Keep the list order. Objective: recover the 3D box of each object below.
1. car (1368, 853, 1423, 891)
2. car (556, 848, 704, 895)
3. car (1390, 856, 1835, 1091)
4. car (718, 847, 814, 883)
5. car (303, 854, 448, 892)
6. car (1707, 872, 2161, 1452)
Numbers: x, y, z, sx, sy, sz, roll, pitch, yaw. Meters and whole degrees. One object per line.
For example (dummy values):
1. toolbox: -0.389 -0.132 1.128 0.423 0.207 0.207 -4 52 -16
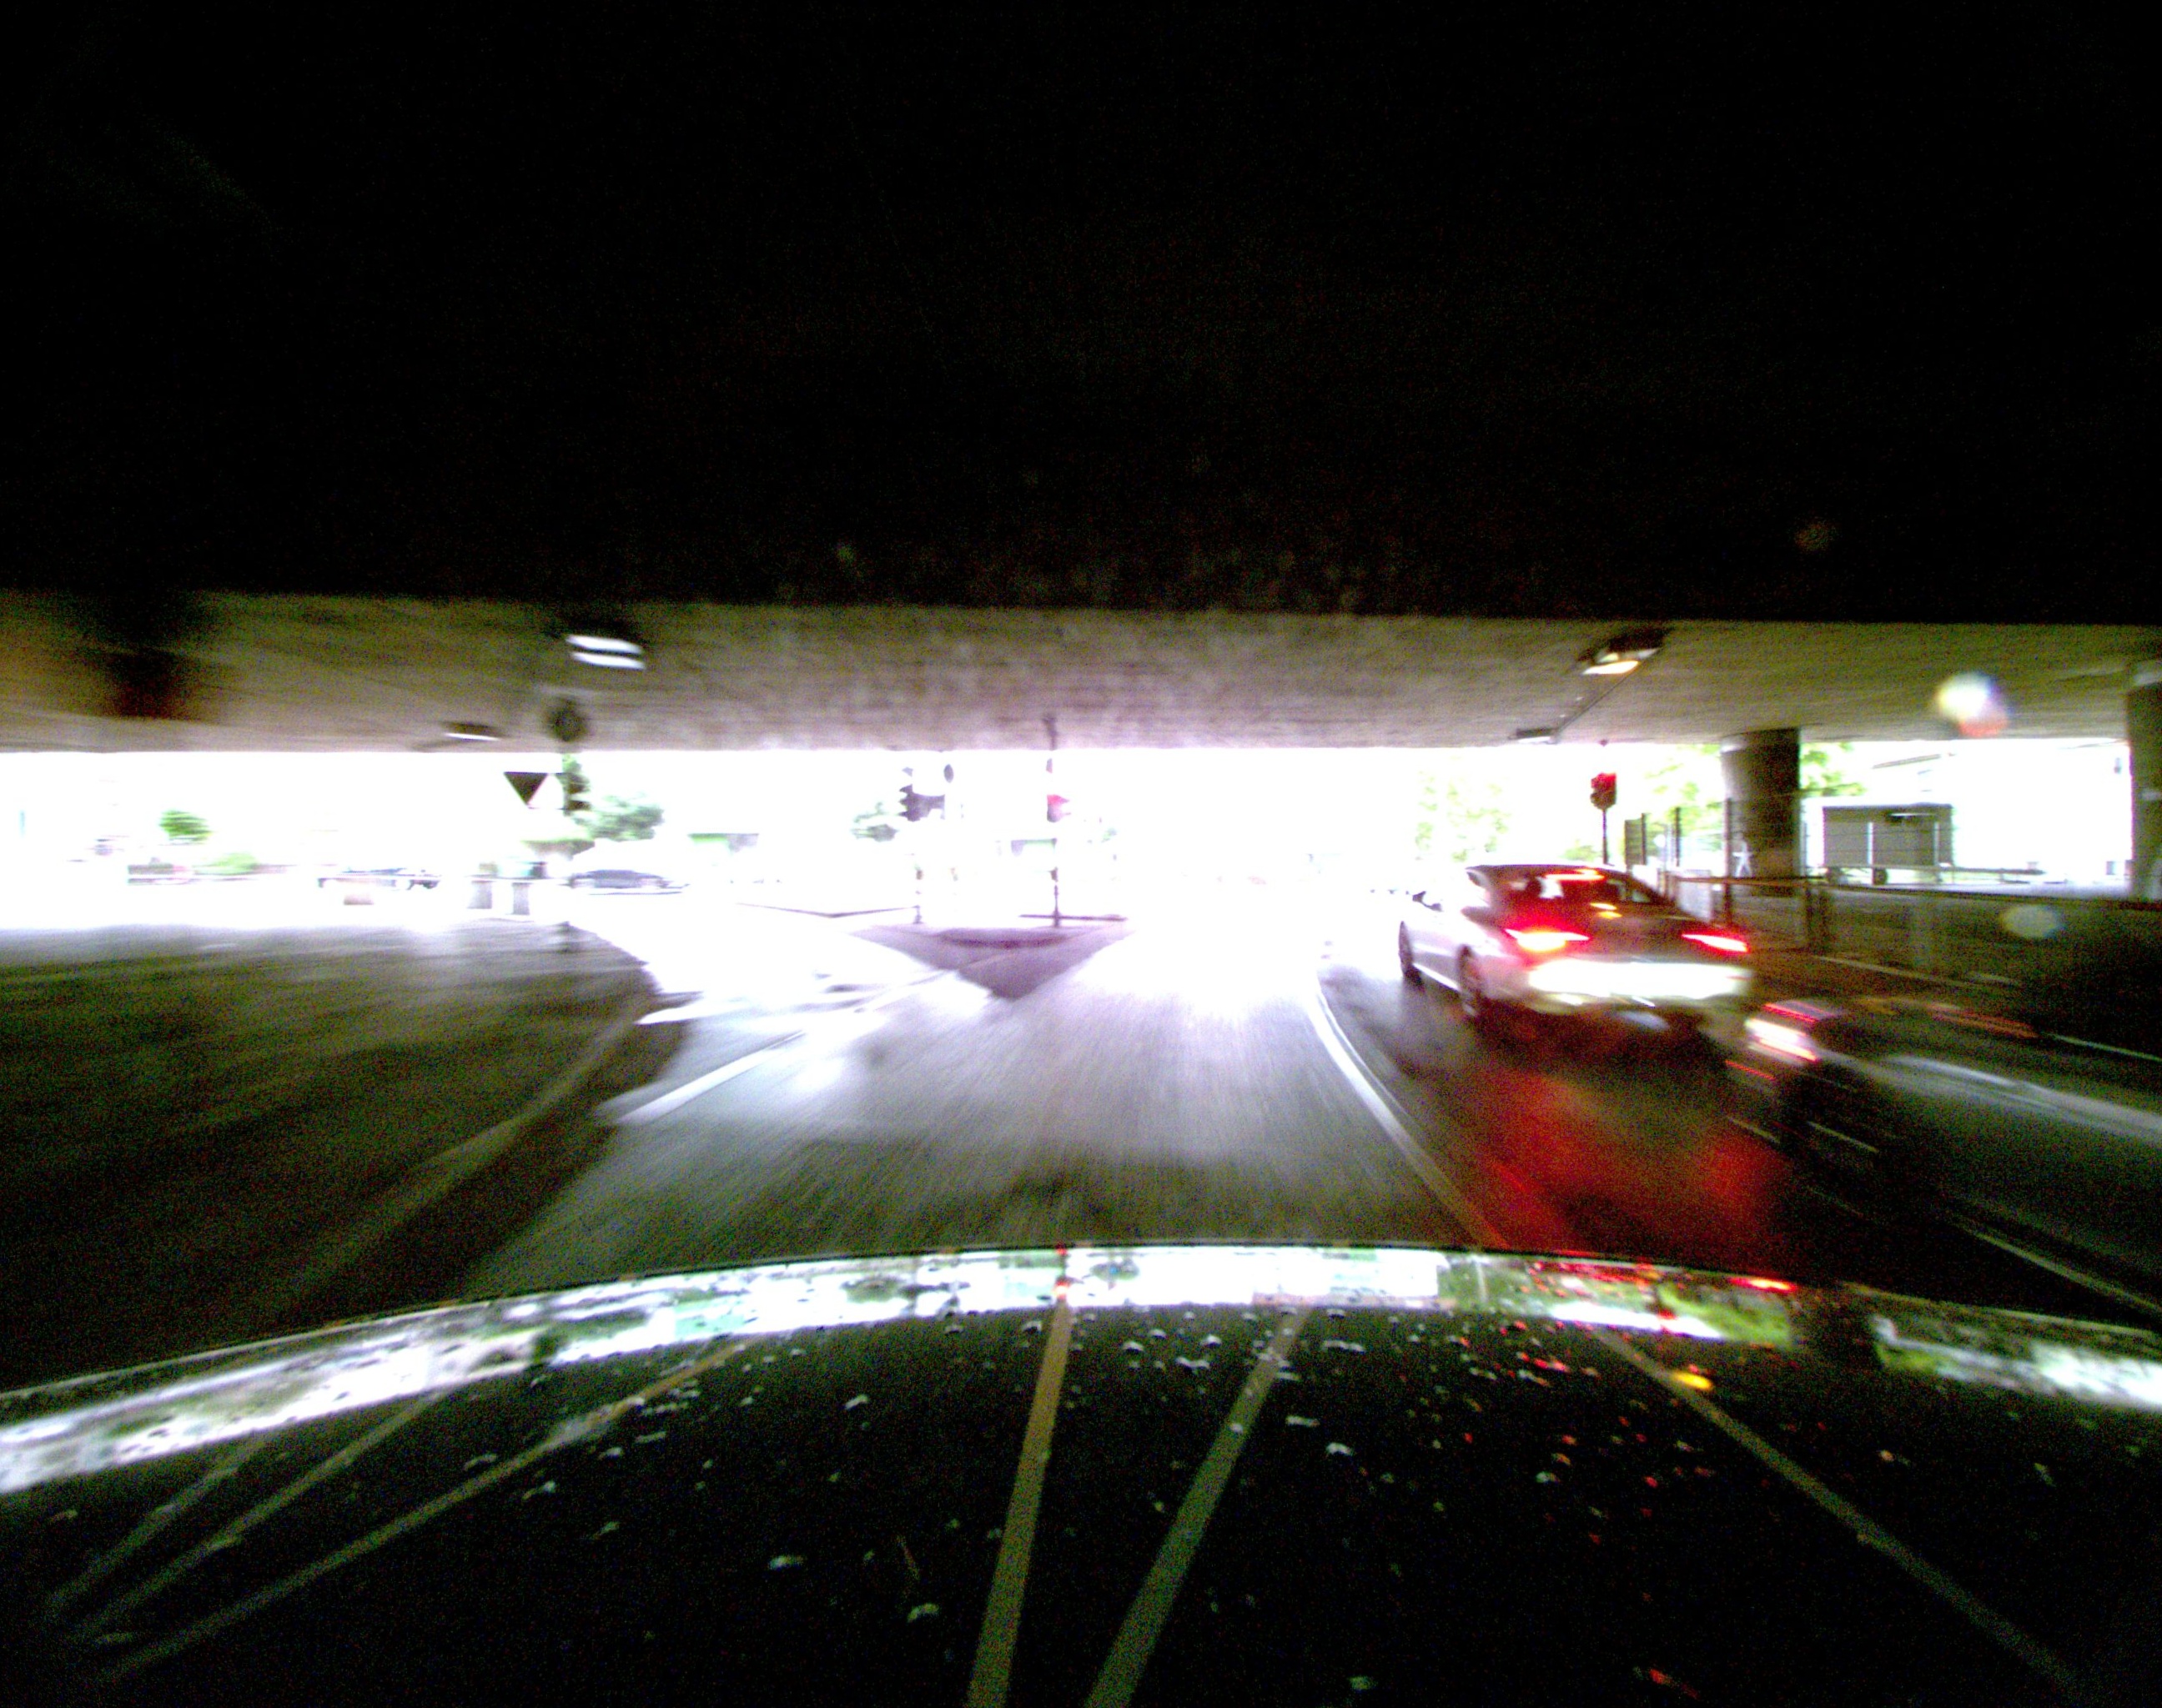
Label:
1. car: 13.698 0.755 33.003 1.704 1.548 4.008 -1 -1 30
2. car: -15.996 0.601 27.070 4.229 1.571 1.769 0 3 6
3. car: 4.525 0.810 7.487 1.996 1.521 4.504 0 1 12
4. car: -13.796 0.490 33.433 3.629 1.548 1.644 0 -1 -10
5. car: -28.664 0.773 31.010 4.003 1.449 1.643 0 -1 -18
6. car: 3.823 0.860 1.521 1.998 1.456 4.106 -1 1 5
